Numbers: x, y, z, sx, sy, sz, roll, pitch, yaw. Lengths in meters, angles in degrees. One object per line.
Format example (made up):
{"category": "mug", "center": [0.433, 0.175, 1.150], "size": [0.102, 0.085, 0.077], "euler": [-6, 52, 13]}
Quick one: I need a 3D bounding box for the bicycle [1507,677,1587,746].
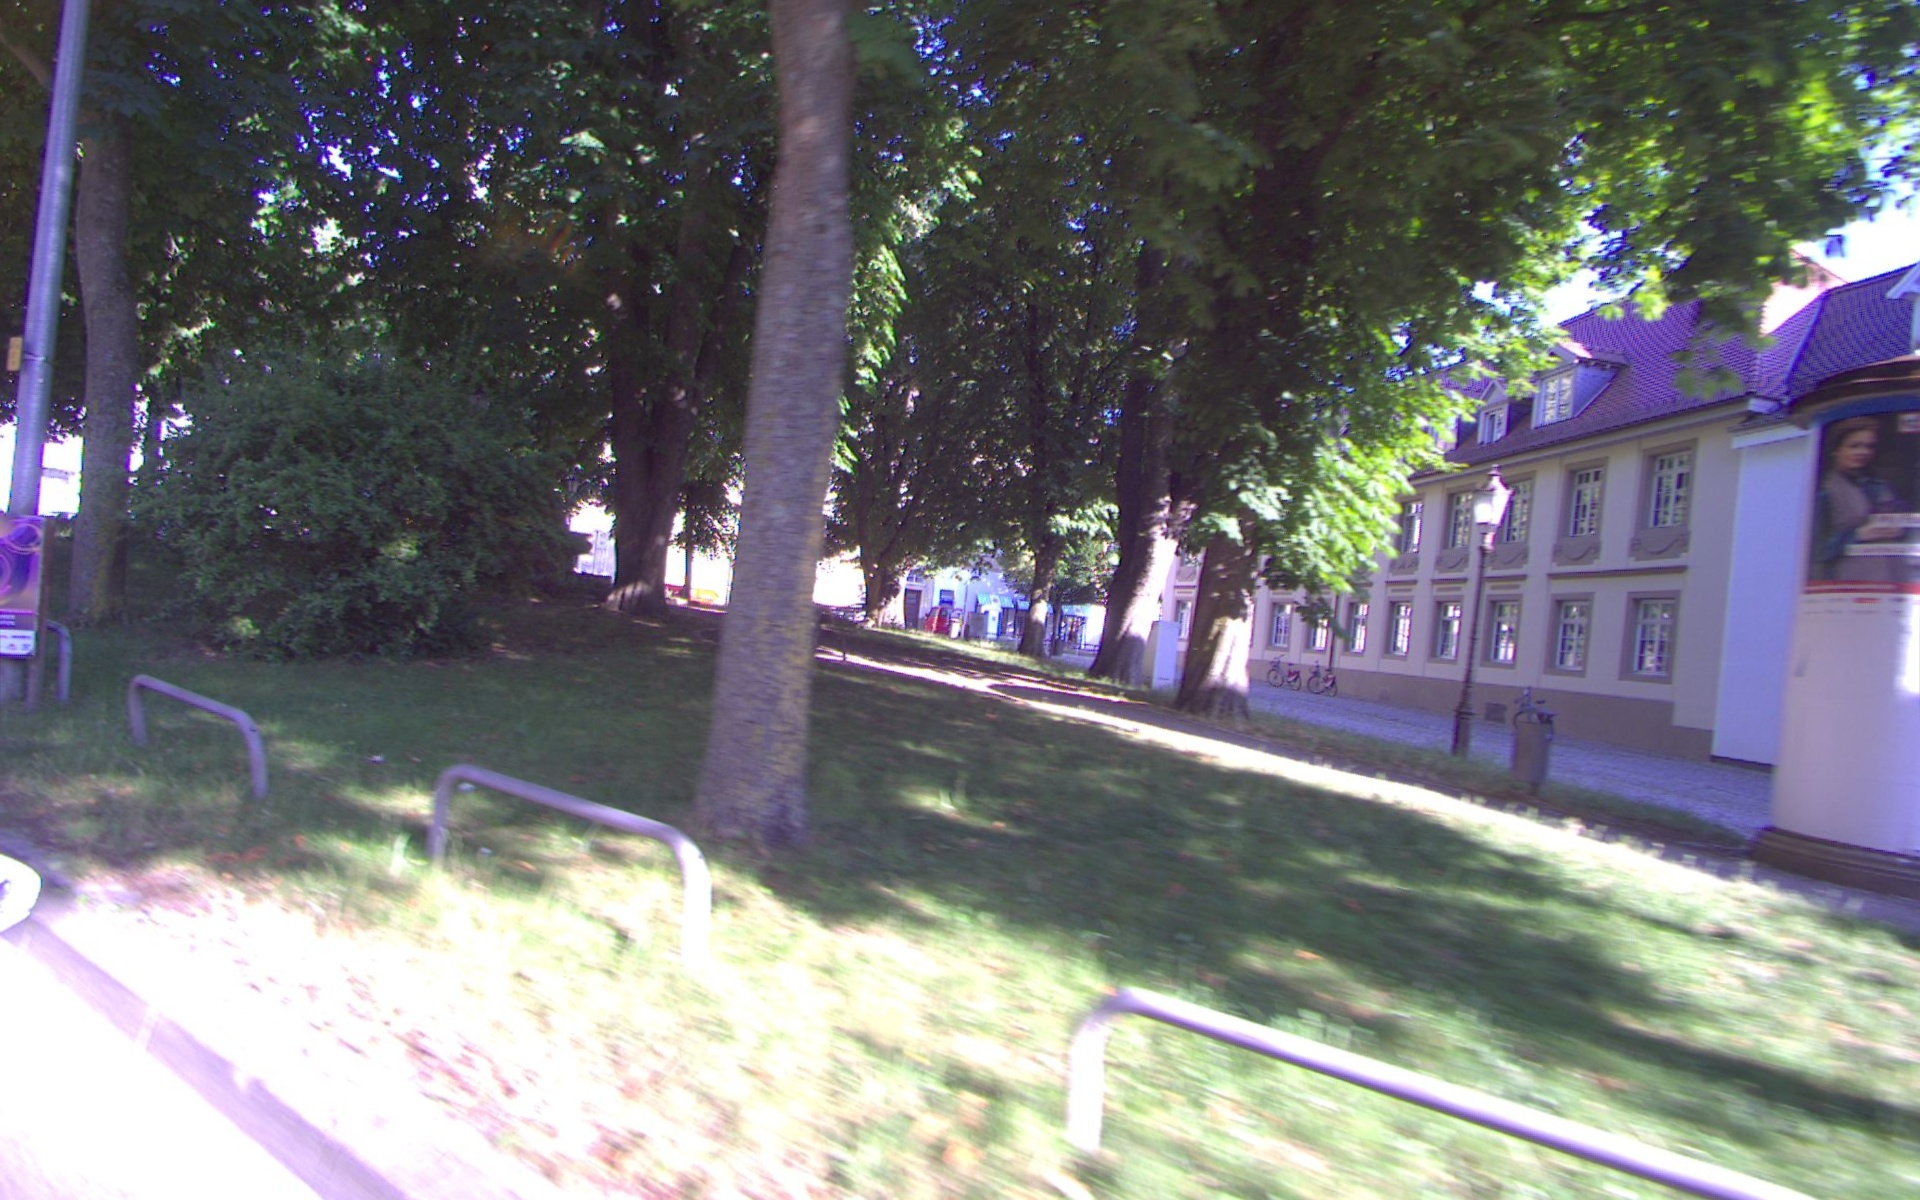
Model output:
{"category": "bicycle", "center": [13.235, 2.499, 22.761], "size": [0.709, 1.334, 1.764], "euler": [6, 0, 3]}

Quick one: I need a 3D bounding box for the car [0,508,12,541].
{"category": "car", "center": [-54.804, -4.444, 54.711], "size": [4.141, 1.770, 1.996], "euler": [7, -1, -12]}

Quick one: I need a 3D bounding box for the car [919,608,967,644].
{"category": "car", "center": [-1.117, 1.604, 63.012], "size": [1.968, 1.944, 4.062], "euler": [7, -1, -14]}

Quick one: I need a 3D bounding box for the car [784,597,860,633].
{"category": "car", "center": [-7.294, 0.800, 52.953], "size": [3.737, 1.440, 1.672], "euler": [7, 0, -12]}

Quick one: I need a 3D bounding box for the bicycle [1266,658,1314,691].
{"category": "bicycle", "center": [11.651, 2.634, 35.583], "size": [0.509, 0.970, 1.751], "euler": [6, 0, -24]}

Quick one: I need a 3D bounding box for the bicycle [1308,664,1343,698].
{"category": "bicycle", "center": [12.287, 2.713, 33.826], "size": [0.506, 0.970, 1.761], "euler": [6, 0, 2]}

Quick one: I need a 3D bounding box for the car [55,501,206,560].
{"category": "car", "center": [-38.000, -3.151, 46.254], "size": [4.837, 1.876, 1.990], "euler": [8, -1, -23]}
